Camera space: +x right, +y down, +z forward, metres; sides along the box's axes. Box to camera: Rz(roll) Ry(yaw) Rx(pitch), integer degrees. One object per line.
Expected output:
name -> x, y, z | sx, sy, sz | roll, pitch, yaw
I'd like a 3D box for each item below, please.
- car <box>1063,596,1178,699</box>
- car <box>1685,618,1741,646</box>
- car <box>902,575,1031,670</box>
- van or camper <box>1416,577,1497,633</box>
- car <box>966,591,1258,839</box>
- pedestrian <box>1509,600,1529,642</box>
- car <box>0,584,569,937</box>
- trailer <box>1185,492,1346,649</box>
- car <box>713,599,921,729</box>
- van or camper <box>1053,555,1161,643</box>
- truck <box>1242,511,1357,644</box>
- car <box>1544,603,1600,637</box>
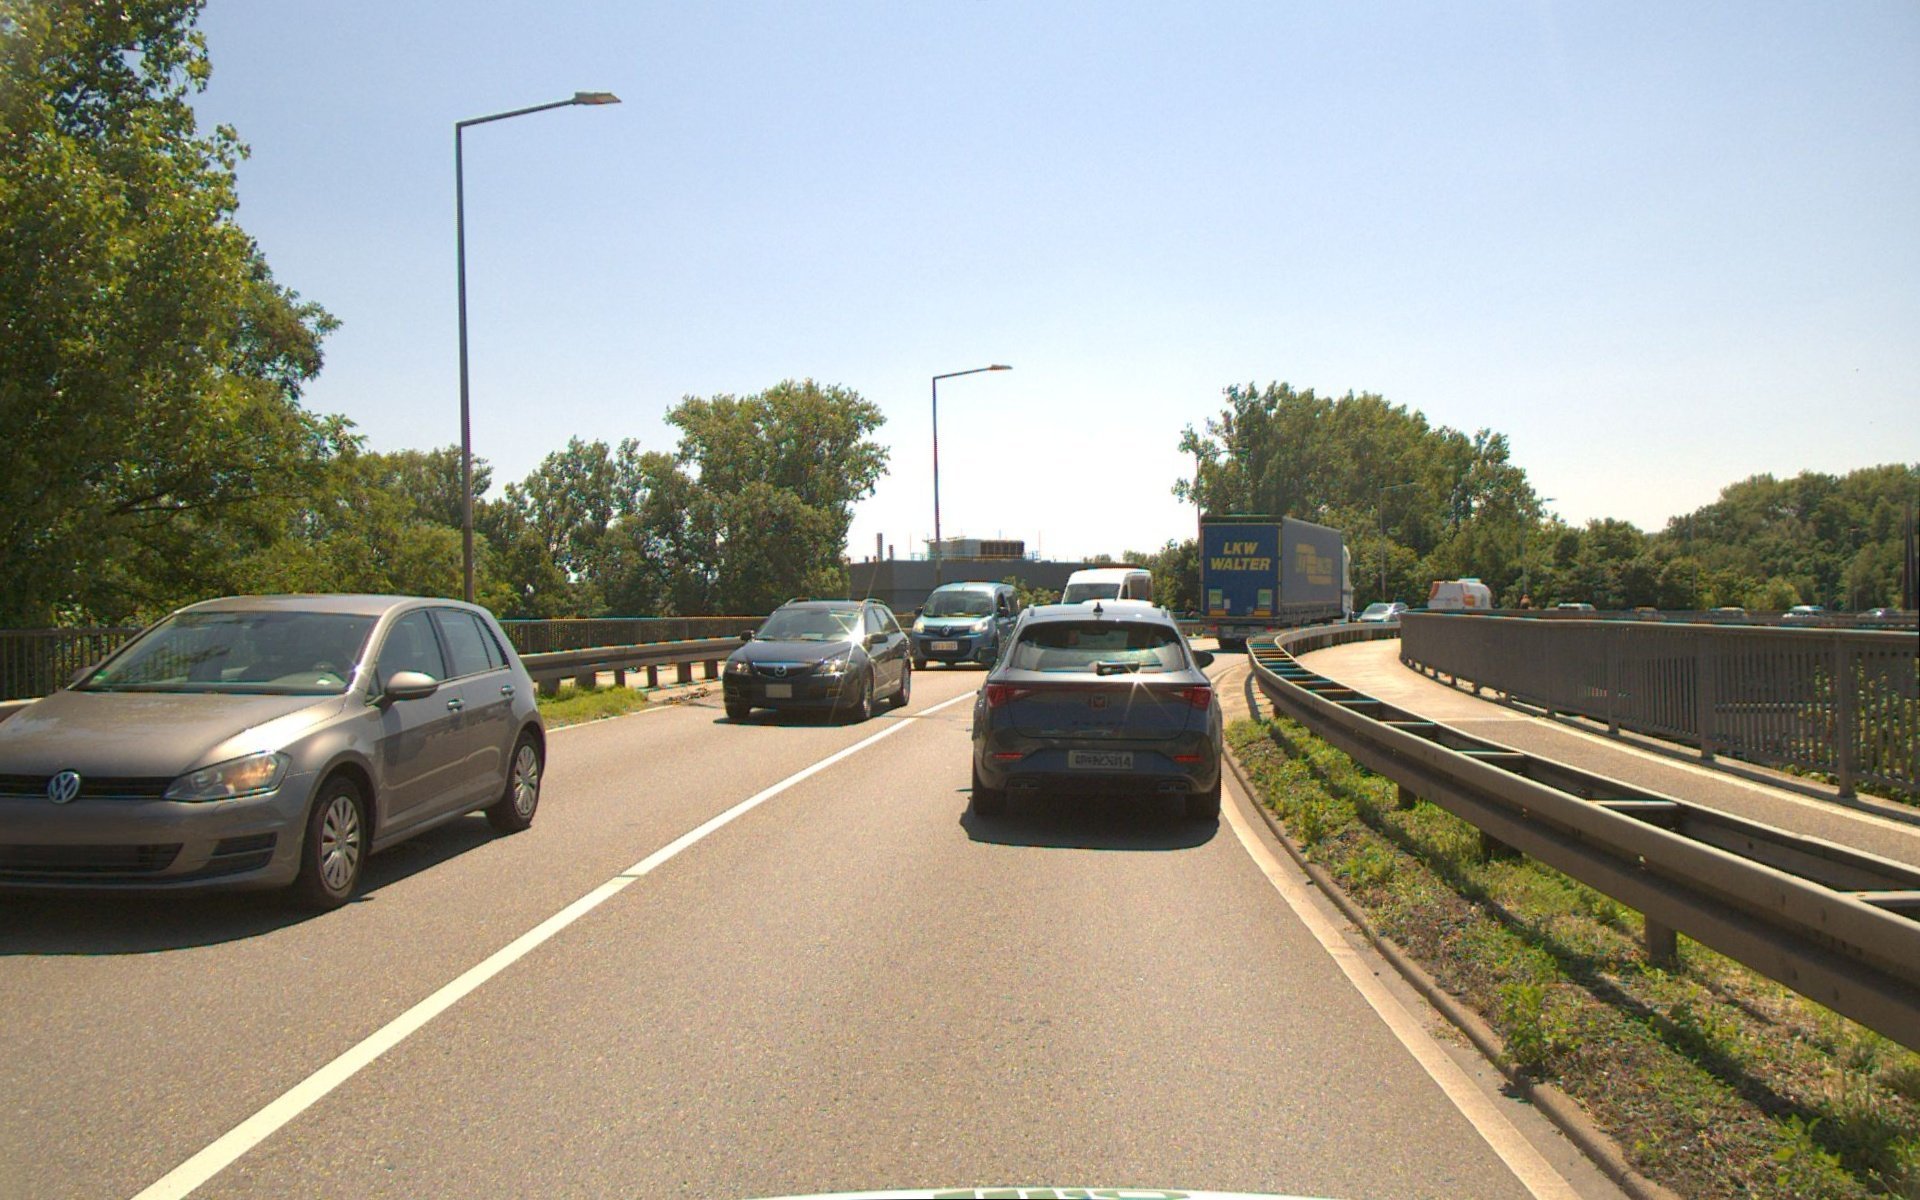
car -> 2.656, 0.727, 26.727 | 1.559, 1.486, 3.547 | 2, 0, 10
car -> 52.060, 2.215, 114.312 | 3.957, 1.882, 1.870 | 2, -1, -37
car -> 0.215, 0.457, 35.461 | 1.719, 1.887, 4.278 | 1, 0, 15
van or camper -> 25.643, 0.255, 85.243 | 2.166, 2.758, 5.903 | 0, 0, 36
car -> 0.964, 0.715, 12.209 | 1.807, 1.525, 3.758 | 1, 0, 0
pedestrian -> 26.708, 1.002, 78.968 | 0.724, 2.002, 0.732 | 1, -1, 34
car -> -3.568, 0.654, 8.927 | 1.680, 1.452, 4.109 | 0, 0, 4
trailer -> 10.633, -0.849, 56.170 | 3.069, 4.695, 12.949 | 2, 0, 20
car -> -1.711, 0.745, 21.340 | 1.719, 1.468, 4.571 | 1, 0, 7
van or camper -> 4.668, -0.055, 51.584 | 2.005, 2.582, 5.886 | -1, 0, 19
truck -> 12.845, -0.756, 62.143 | 3.104, 4.665, 7.397 | 1, -1, 20
car -> 36.308, 1.189, 98.104 | 1.860, 1.882, 3.977 | 1, -1, 41
